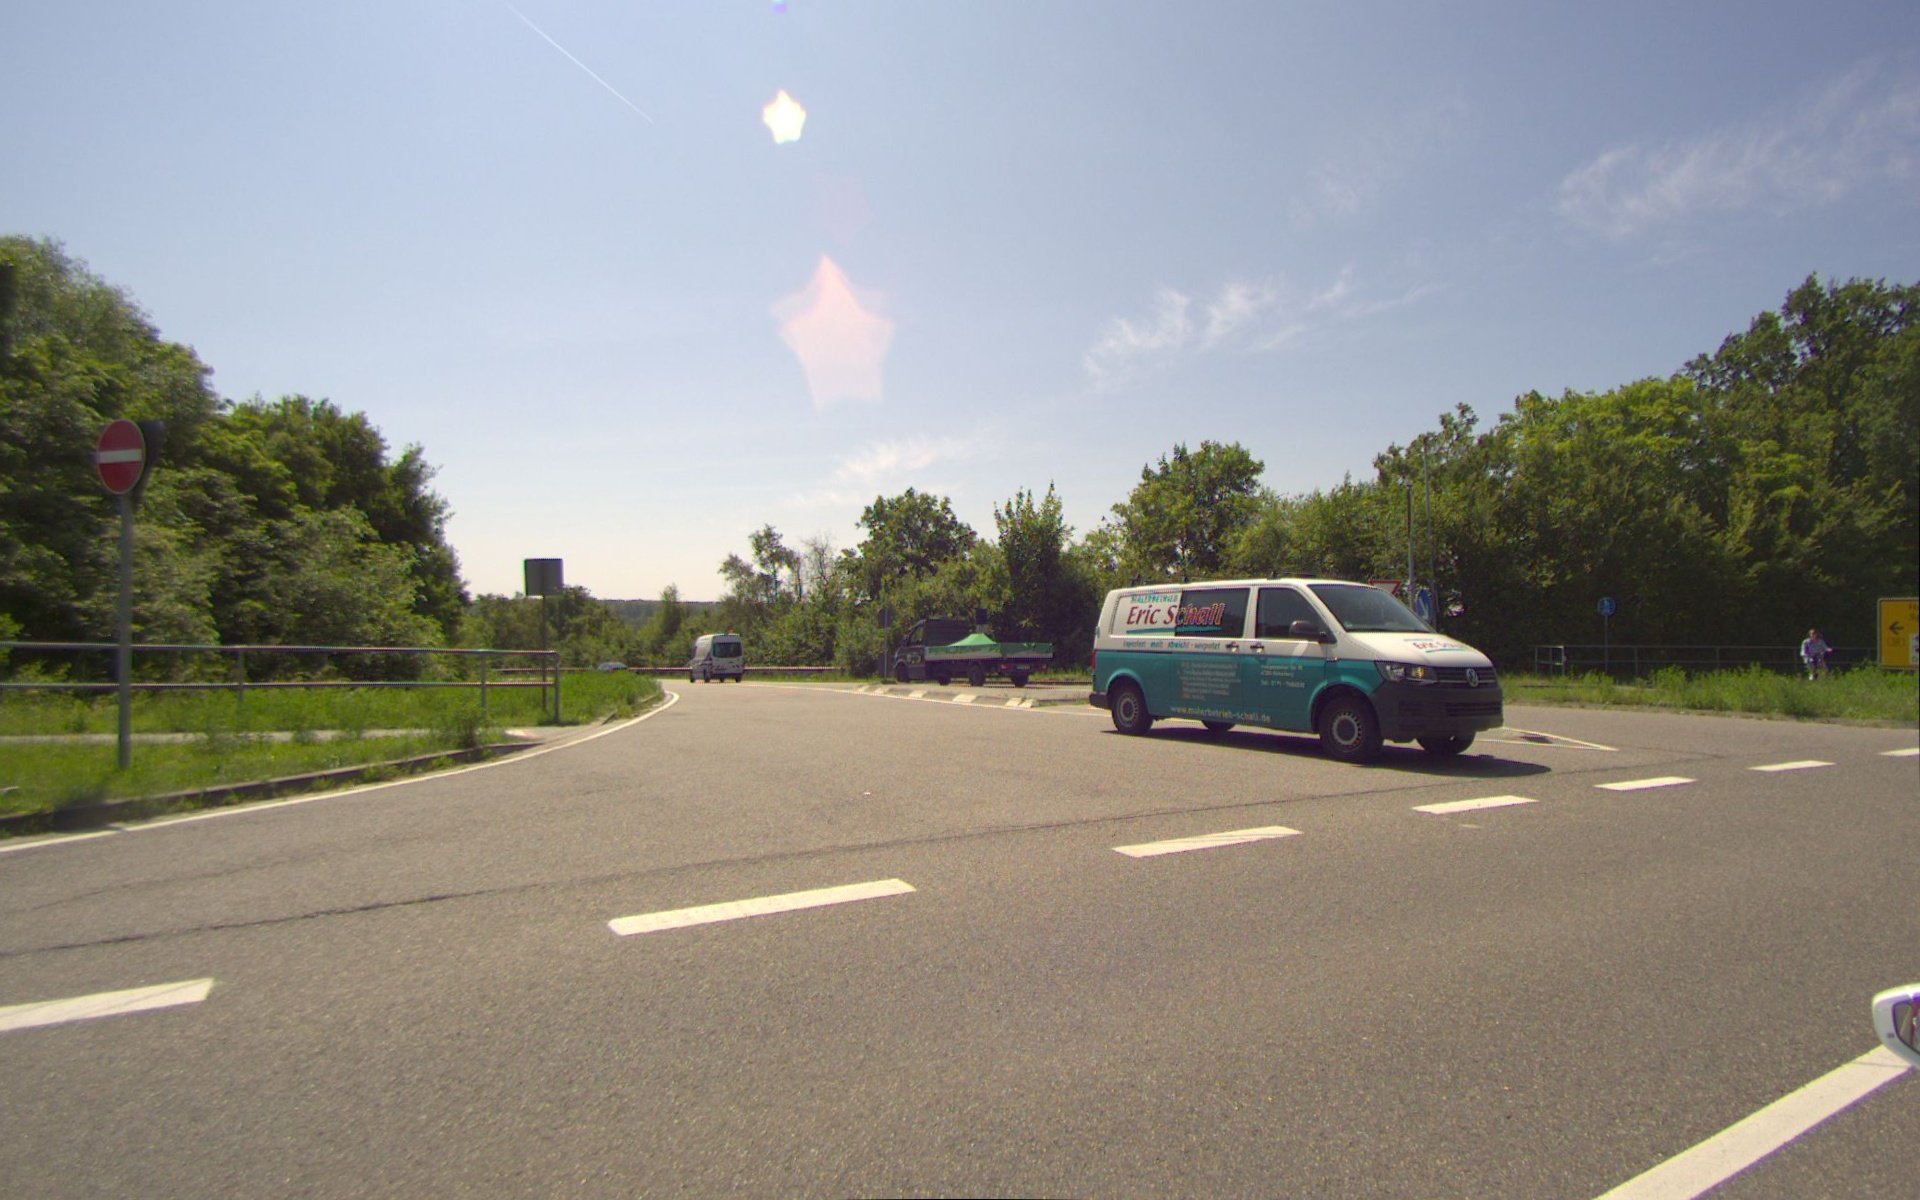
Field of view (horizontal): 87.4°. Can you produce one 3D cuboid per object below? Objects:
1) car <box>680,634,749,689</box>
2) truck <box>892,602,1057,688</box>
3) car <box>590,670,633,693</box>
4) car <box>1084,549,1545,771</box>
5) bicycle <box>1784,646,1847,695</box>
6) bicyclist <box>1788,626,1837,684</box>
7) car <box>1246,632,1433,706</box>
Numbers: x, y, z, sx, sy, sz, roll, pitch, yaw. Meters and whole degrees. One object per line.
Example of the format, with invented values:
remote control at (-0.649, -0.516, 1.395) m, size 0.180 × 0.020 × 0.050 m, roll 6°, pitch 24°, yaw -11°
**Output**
car at (-13.709, 3.432, 55.792) m, size 2.088 × 2.886 × 5.965 m, roll 2°, pitch -5°, yaw -31°
truck at (0.306, 1.594, 33.709) m, size 2.125 × 2.598 × 6.576 m, roll 2°, pitch -5°, yaw -35°
car at (-26.748, 6.251, 77.034) m, size 1.666 × 1.683 × 3.950 m, roll 1°, pitch -5°, yaw -44°
car at (3.864, 0.669, 12.061) m, size 1.977 × 2.054 × 5.145 m, roll 1°, pitch -3°, yaw -31°
bicycle at (21.068, 1.716, 24.767) m, size 0.428 × 1.128 × 1.483 m, roll 1°, pitch -1°, yaw 7°
bicyclist at (21.025, 1.348, 24.774) m, size 0.676 × 1.381 × 0.609 m, roll 1°, pitch -1°, yaw 5°
car at (8.189, 1.441, 22.005) m, size 1.702 × 1.476 × 3.776 m, roll 1°, pitch -2°, yaw -24°
